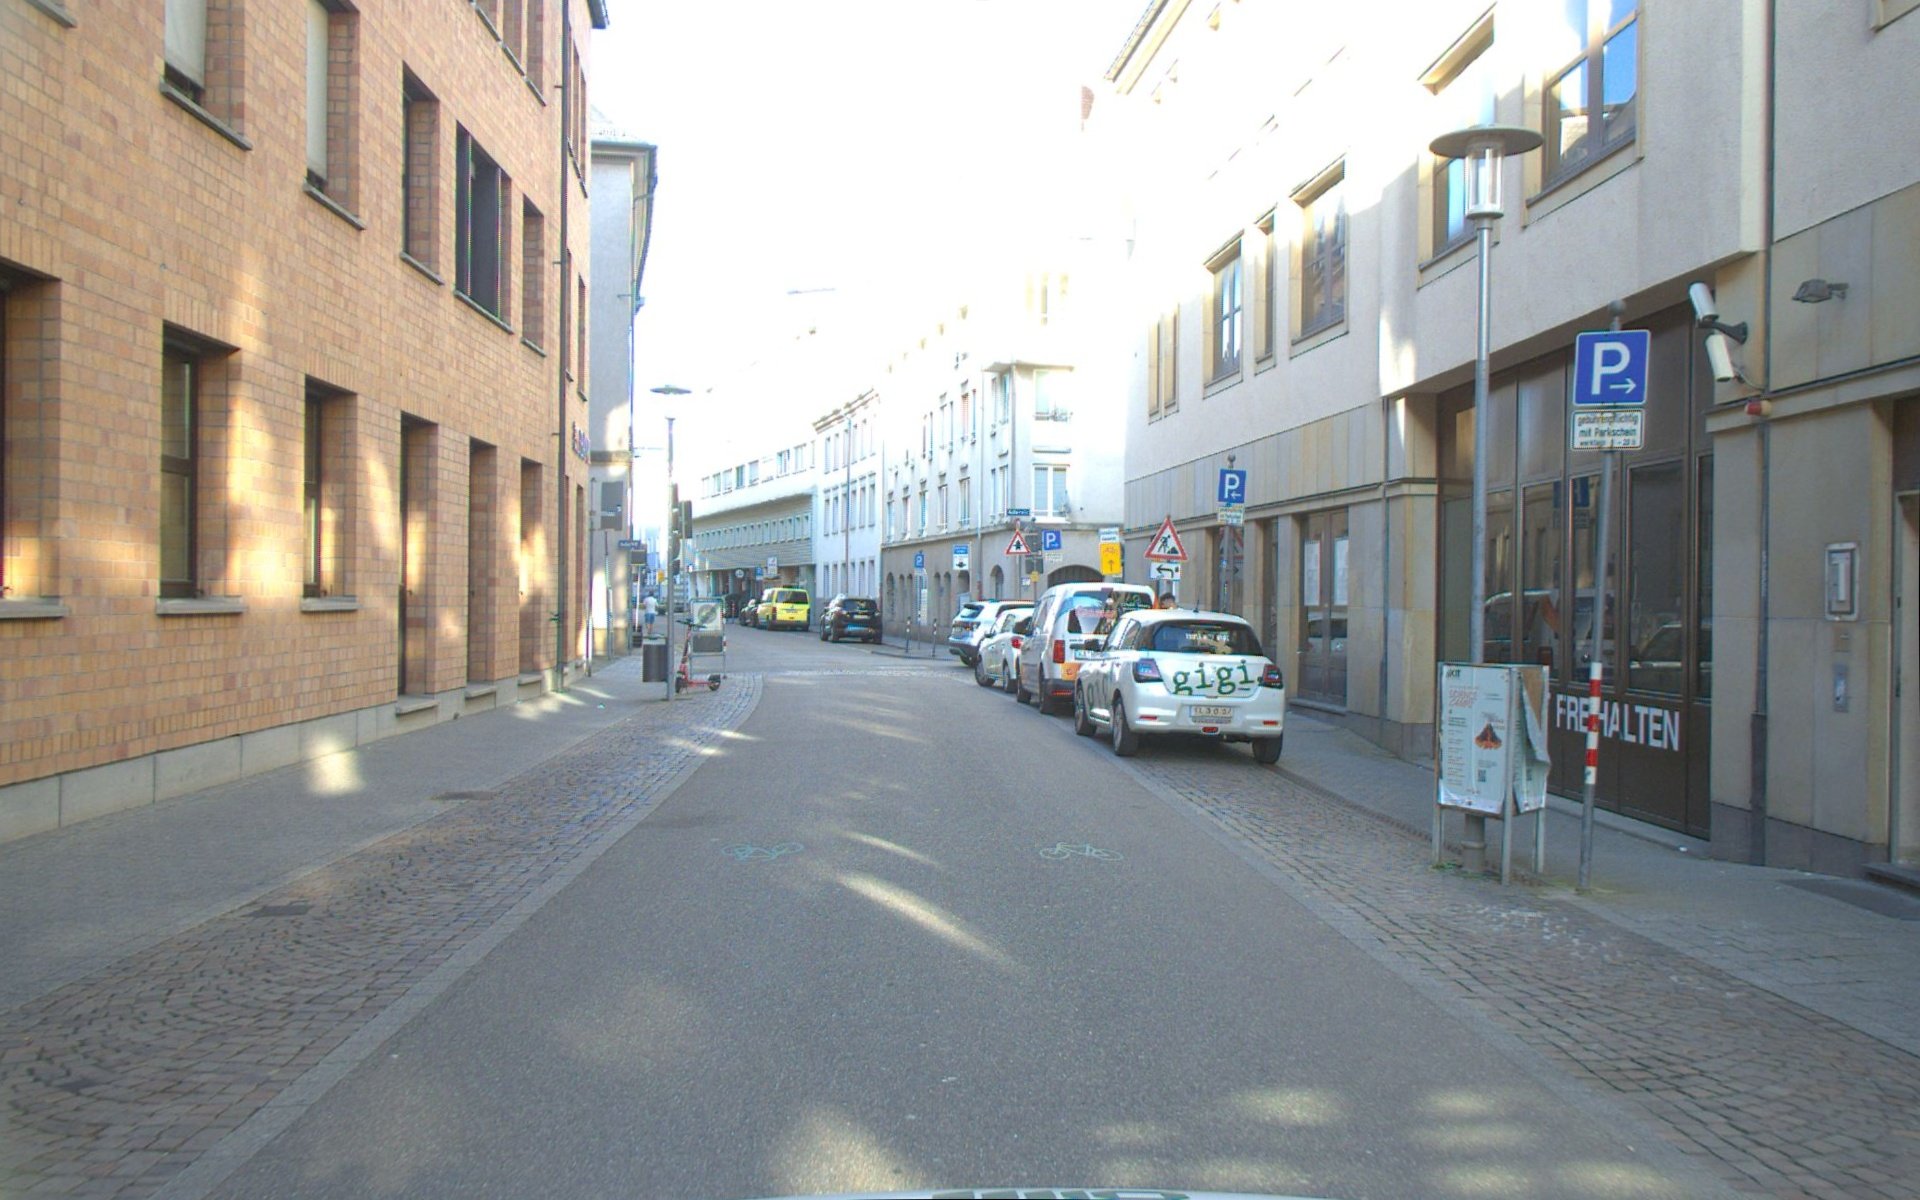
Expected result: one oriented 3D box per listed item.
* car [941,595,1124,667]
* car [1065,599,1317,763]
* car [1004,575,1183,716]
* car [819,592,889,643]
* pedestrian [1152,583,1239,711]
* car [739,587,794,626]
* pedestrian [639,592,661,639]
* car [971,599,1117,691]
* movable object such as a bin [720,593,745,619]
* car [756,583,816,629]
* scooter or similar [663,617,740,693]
[{"bbox_3d":[1.682,0.693,38.651,3.924,1.589,1.834,0,0,-17],"label":"car"},{"bbox_3d":[2.402,0.799,18.281,1.805,1.504,4.163,3,0,-5],"label":"car"},{"bbox_3d":[1.848,0.606,24.557,1.795,1.822,5.208,1,0,-5],"label":"car"},{"bbox_3d":[-3.880,0.622,60.033,1.933,1.721,4.088,2,0,-12],"label":"car"},{"bbox_3d":[3.448,0.674,24.328,1.022,1.833,1.197,0,-1,-5],"label":"pedestrian"},{"bbox_3d":[-9.585,0.304,81.824,2.020,1.905,4.081,0,0,-17],"label":"car"},{"bbox_3d":[-11.722,0.579,62.546,0.754,1.755,0.683,1,0,-18],"label":"pedestrian"},{"bbox_3d":[1.463,0.775,30.491,1.854,1.545,4.054,1,0,-10],"label":"car"},{"bbox_3d":[-13.757,0.350,99.937,1.115,1.585,1.729,1,0,-21],"label":"movable object such as a bin"},{"bbox_3d":[-8.036,0.257,76.164,2.020,2.049,4.155,0,0,-17],"label":"car"},{"bbox_3d":[-4.408,0.921,28.274,0.683,1.239,1.357,0,0,22],"label":"scooter or similar"}]
